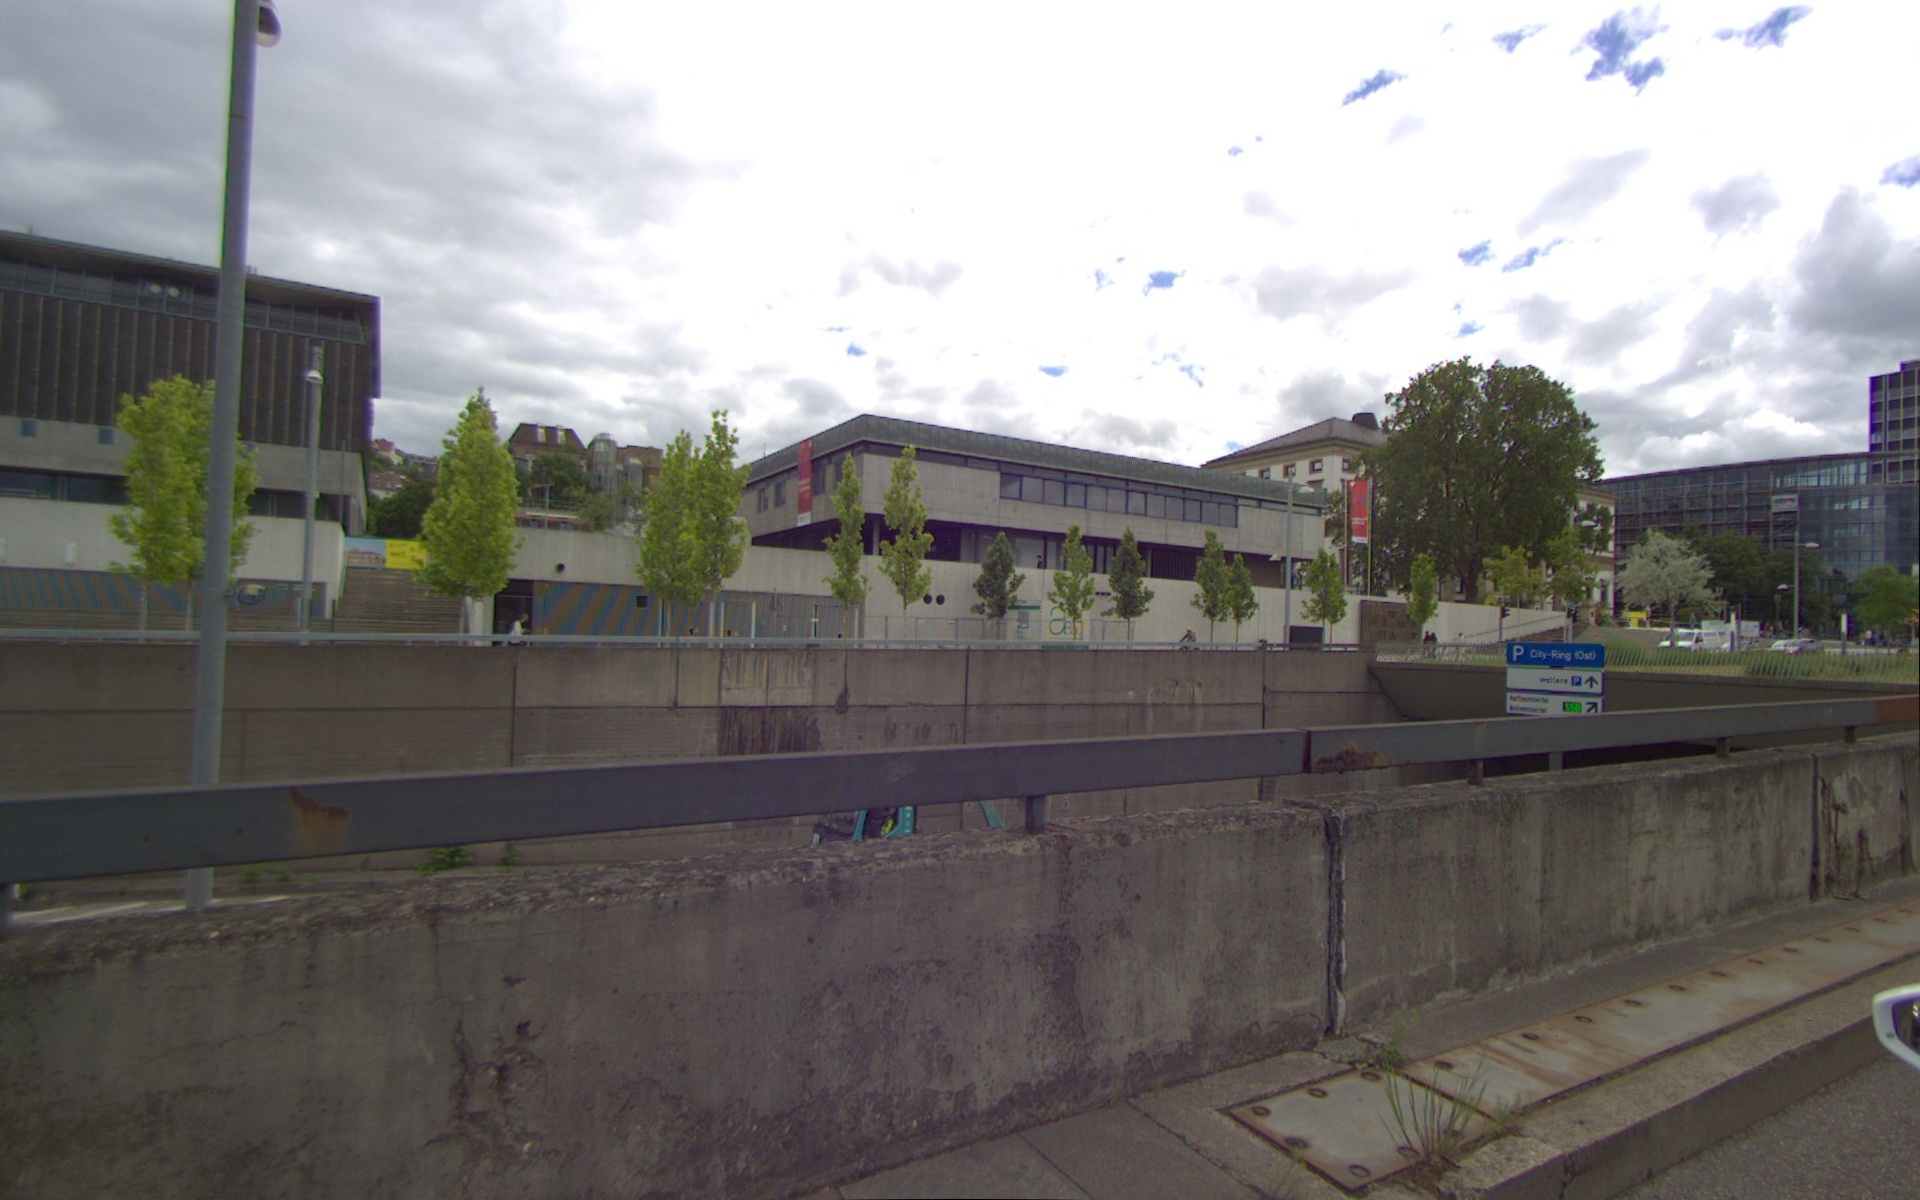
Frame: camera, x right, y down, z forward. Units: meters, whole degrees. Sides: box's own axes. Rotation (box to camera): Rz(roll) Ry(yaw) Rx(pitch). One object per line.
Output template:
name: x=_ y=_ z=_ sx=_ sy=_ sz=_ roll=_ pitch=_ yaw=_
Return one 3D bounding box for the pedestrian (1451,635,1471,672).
pedestrian: x=27.325 y=2.911 z=54.774 sx=0.845 sy=2.040 sz=0.629 roll=0 pitch=-1 yaw=12

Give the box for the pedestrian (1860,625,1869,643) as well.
pedestrian: x=104.329 y=3.900 z=115.907 sx=0.731 sy=2.040 sz=0.788 roll=-1 pitch=-1 yaw=45

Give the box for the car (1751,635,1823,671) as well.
car: x=51.409 y=3.243 z=62.435 sx=4.635 sy=2.040 sz=1.985 roll=0 pitch=0 yaw=-30

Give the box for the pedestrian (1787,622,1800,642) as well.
pedestrian: x=88.106 y=3.396 z=106.181 sx=0.731 sy=2.040 sz=0.787 roll=0 pitch=-1 yaw=-27

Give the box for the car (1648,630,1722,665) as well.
car: x=44.643 y=2.886 z=61.830 sx=4.635 sy=2.040 sz=1.985 roll=0 pitch=0 yaw=-30

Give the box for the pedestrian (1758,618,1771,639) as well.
pedestrian: x=76.079 y=2.689 z=95.013 sx=0.783 sy=2.040 sz=0.735 roll=0 pitch=-1 yaw=-29

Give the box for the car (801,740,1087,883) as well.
car: x=-0.310 y=4.579 z=22.597 sx=5.866 sy=2.341 sz=2.607 roll=3 pitch=0 yaw=-30

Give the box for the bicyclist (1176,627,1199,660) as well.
bicyclist: x=11.110 y=2.131 z=49.075 sx=0.767 sy=1.574 sz=0.727 roll=3 pitch=0 yaw=-31

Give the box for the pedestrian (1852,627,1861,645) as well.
pedestrian: x=101.077 y=4.049 z=113.256 sx=0.729 sy=2.040 sz=0.790 roll=-1 pitch=-1 yaw=38

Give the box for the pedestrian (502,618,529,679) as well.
pedestrian: x=-15.072 y=1.618 z=34.095 sx=0.780 sy=2.040 sz=0.738 roll=0 pitch=-1 yaw=-19

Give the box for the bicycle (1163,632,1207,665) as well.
bicycle: x=11.007 y=2.373 z=49.076 sx=2.165 sy=1.556 sz=0.722 roll=3 pitch=0 yaw=-31

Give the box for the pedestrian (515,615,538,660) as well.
pedestrian: x=-16.320 y=1.390 z=37.797 sx=0.783 sy=1.664 sz=0.736 roll=0 pitch=-1 yaw=-27

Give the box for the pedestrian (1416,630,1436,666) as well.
pedestrian: x=27.307 y=2.807 z=58.844 sx=0.779 sy=2.040 sz=0.739 roll=0 pitch=0 yaw=-11

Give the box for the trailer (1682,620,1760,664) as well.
trailer: x=48.905 y=2.652 z=64.548 sx=5.443 sy=2.640 sz=2.028 roll=1 pitch=1 yaw=-30

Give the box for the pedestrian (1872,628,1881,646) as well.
pedestrian: x=105.118 y=4.246 z=115.170 sx=0.731 sy=2.040 sz=0.788 roll=-1 pitch=-1 yaw=45

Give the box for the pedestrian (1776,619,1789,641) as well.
pedestrian: x=76.778 y=2.776 z=93.760 sx=0.782 sy=2.040 sz=0.736 roll=3 pitch=-2 yaw=-26
